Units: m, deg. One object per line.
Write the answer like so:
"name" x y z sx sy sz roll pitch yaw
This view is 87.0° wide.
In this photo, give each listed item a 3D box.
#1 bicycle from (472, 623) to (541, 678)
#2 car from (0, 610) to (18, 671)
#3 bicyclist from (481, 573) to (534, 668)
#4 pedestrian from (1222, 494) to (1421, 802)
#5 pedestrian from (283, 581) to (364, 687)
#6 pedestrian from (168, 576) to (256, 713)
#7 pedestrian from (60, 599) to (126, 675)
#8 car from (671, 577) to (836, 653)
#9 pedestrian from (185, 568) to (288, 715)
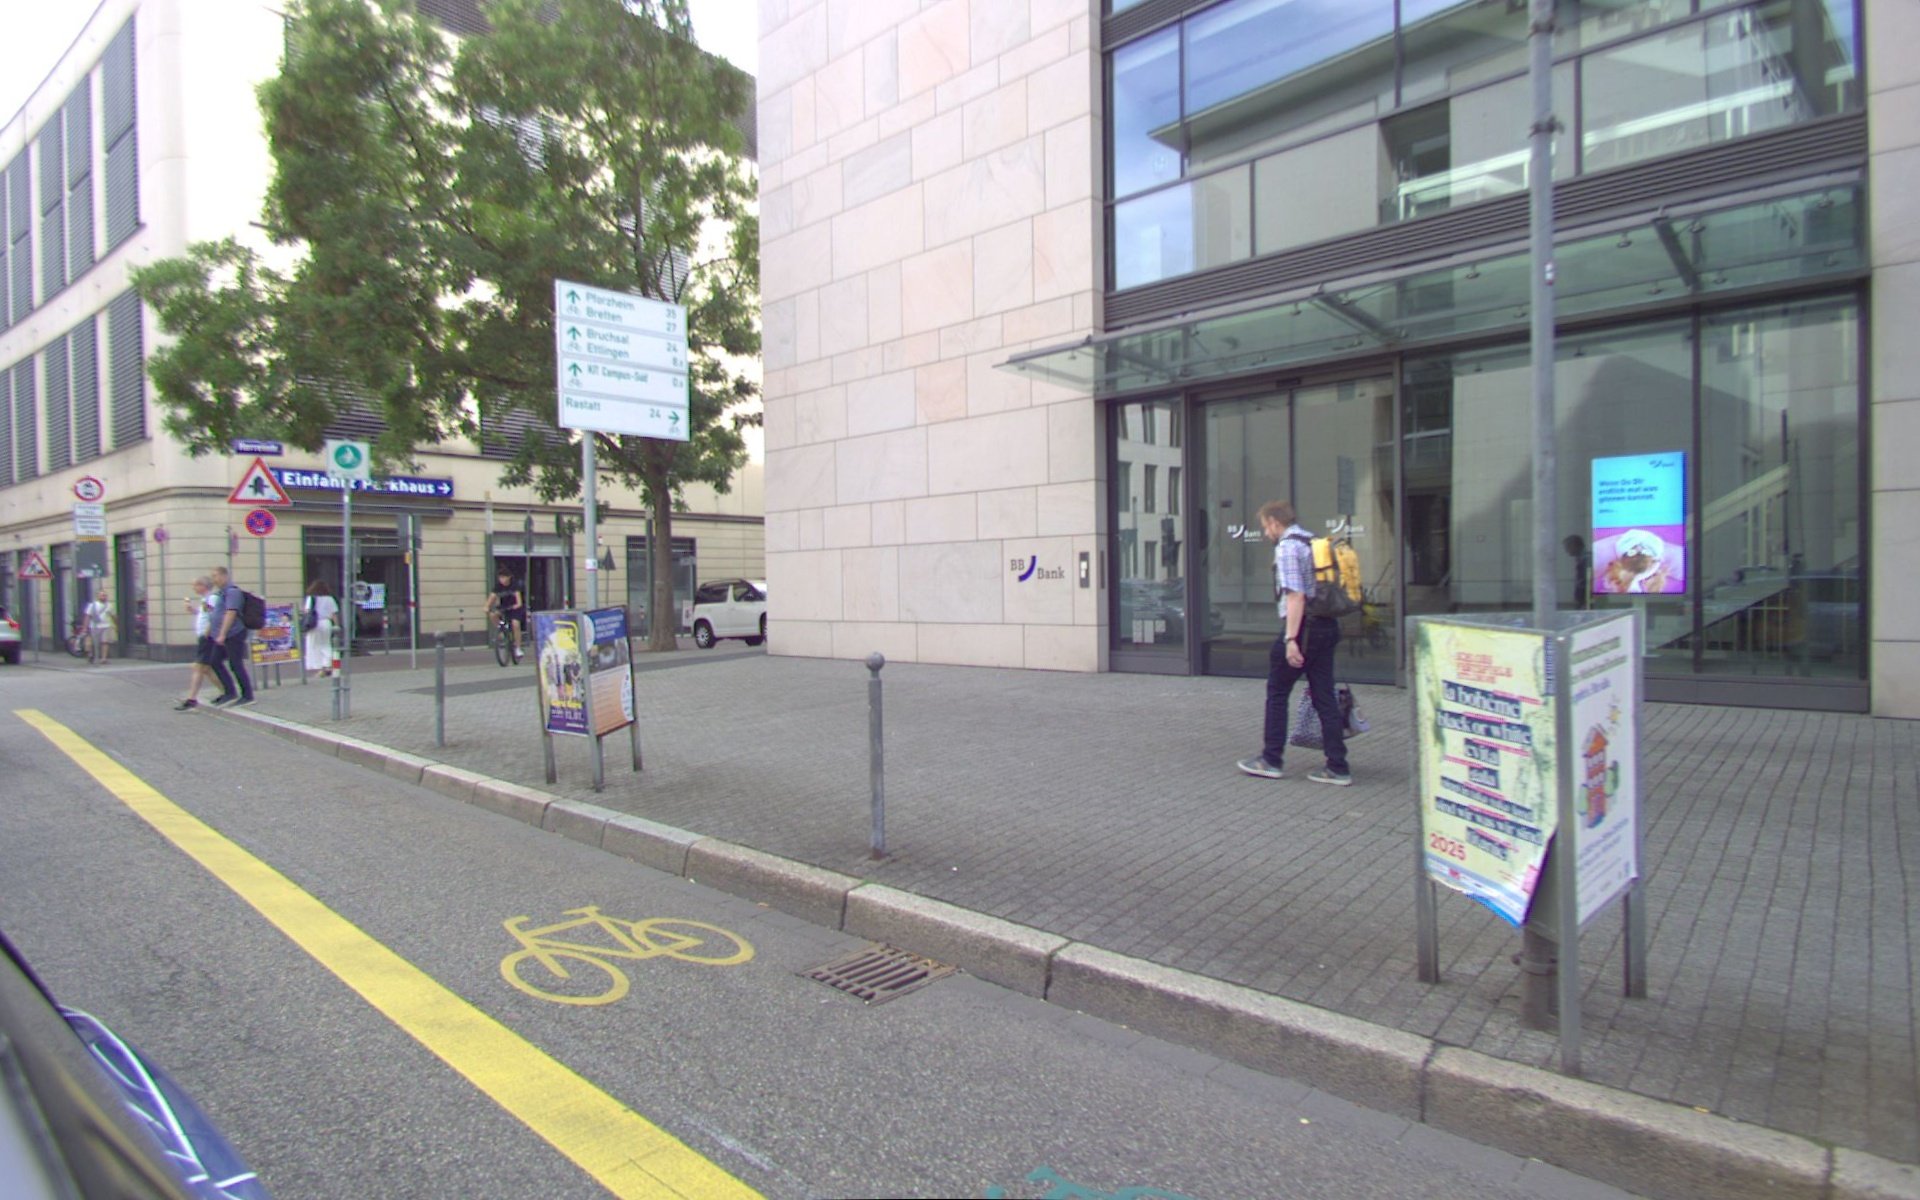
"bicycle" -8.041 0.876 18.016 0.592 0.840 1.728 -5 1 -8
"car" -26.666 1.073 26.895 4.093 1.568 1.545 0 1 35
"bicyclist" -8.080 0.359 18.084 0.613 1.631 0.645 -3 2 -8
"pedestrian" 2.271 0.245 6.323 0.818 1.732 1.015 0 3 42
"pedestrian" -11.040 0.563 17.556 0.910 1.721 0.868 0 4 42
"pedestrian" -10.177 0.594 13.772 0.652 1.778 0.637 -1 4 30
"pedestrian" -21.630 0.901 25.250 1.058 1.778 0.883 -1 4 35
"car" -5.144 0.387 25.000 3.958 1.706 1.875 -3 -1 38
"pedestrian" -9.478 0.519 13.269 0.753 1.827 0.738 -1 4 30
